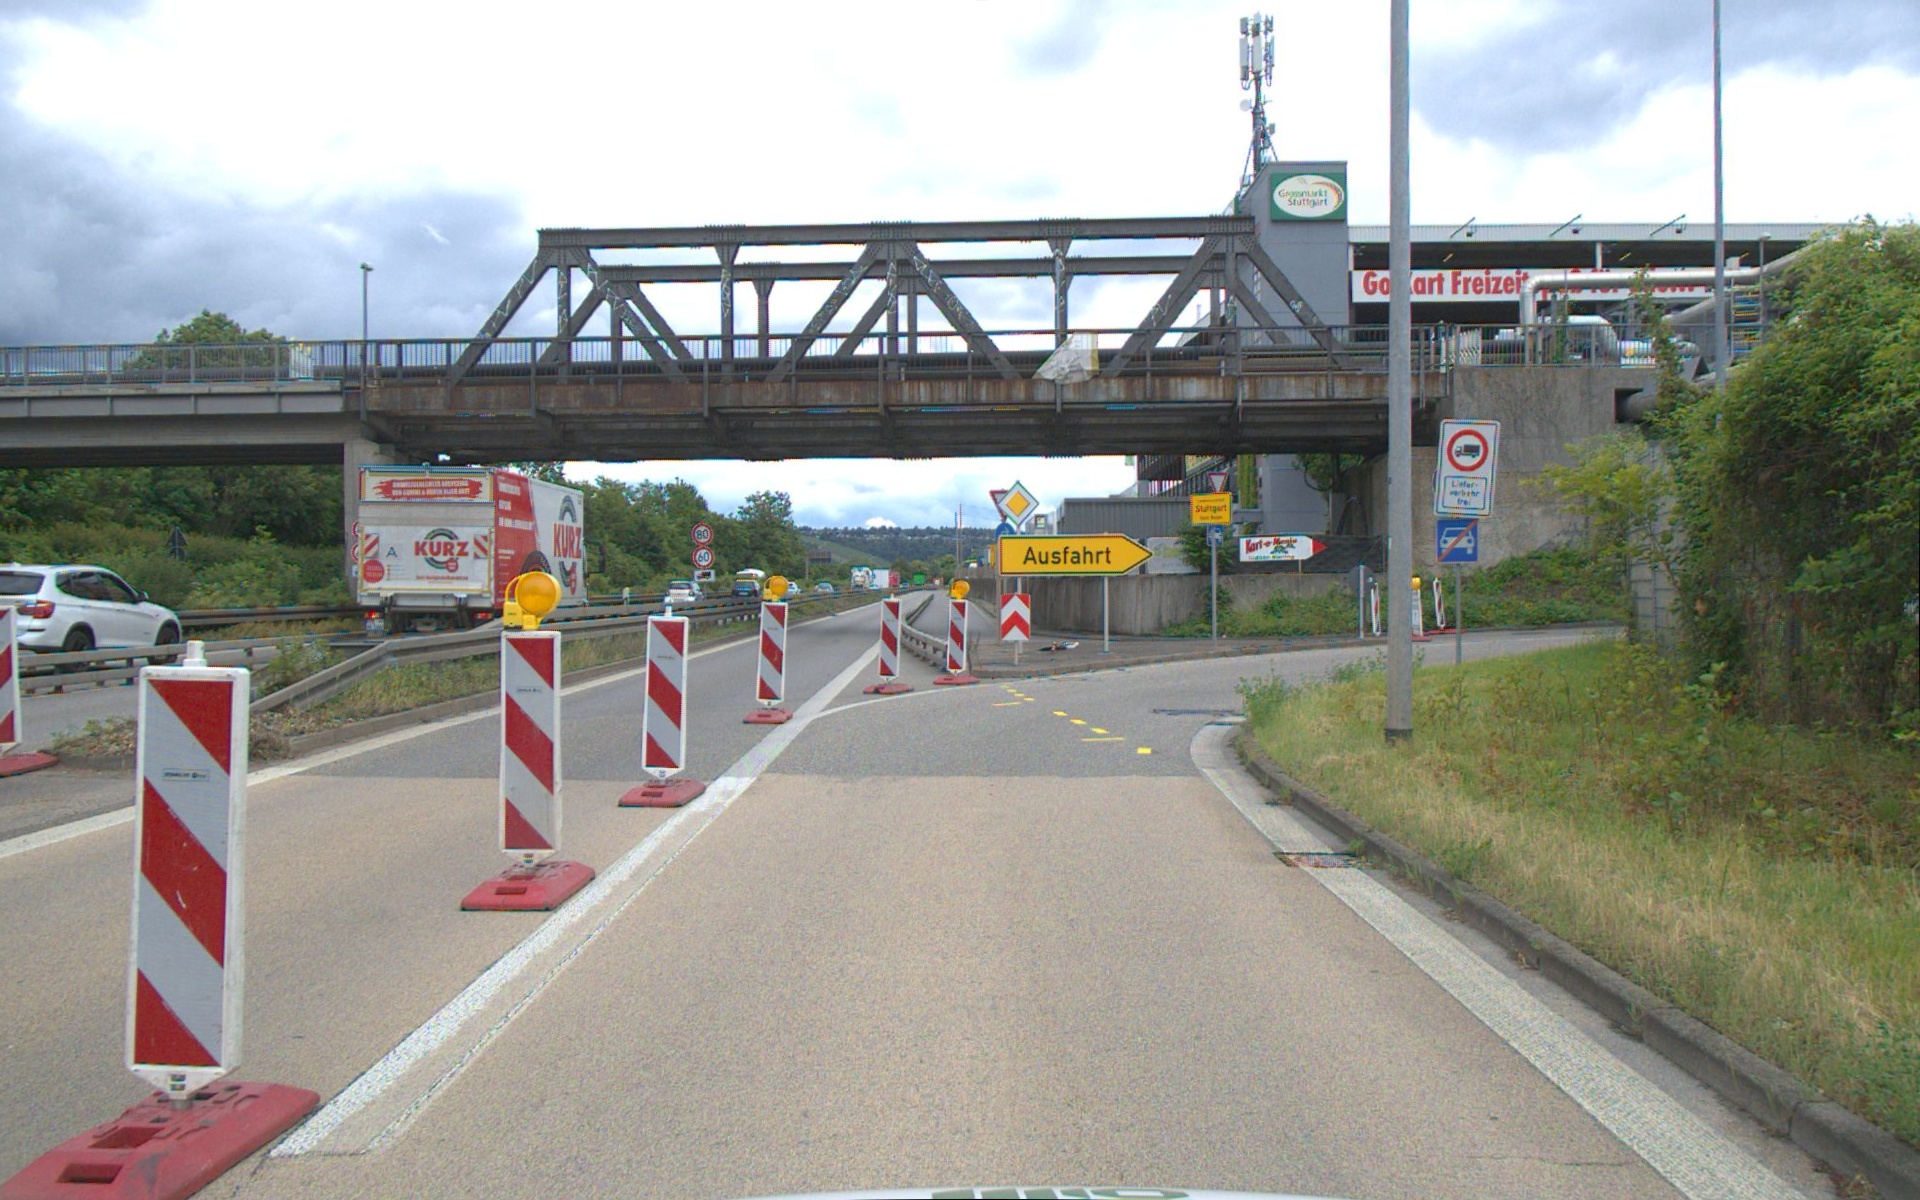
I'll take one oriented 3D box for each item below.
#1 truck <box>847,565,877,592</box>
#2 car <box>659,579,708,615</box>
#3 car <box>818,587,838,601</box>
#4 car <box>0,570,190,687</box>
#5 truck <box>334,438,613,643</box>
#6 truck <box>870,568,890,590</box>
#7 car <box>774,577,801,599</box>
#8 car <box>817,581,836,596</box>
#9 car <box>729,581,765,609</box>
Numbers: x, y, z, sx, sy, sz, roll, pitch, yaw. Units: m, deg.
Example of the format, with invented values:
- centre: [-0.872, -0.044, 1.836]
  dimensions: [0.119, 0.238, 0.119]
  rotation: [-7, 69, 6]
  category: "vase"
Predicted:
- centre: [-13.344, -2.925, 226.025]
  dimensions: [3.644, 3.709, 7.728]
  rotation: [0, 1, 0]
  category: "truck"
- centre: [-14.202, -0.158, 84.995]
  dimensions: [1.953, 1.790, 3.998]
  rotation: [-1, 0, -2]
  category: "car"
- centre: [-14.446, -0.690, 181.345]
  dimensions: [1.933, 1.438, 4.599]
  rotation: [-1, 0, -1]
  category: "car"
- centre: [-13.856, 0.398, 25.751]
  dimensions: [1.816, 1.669, 4.290]
  rotation: [1, 0, -2]
  category: "car"
- centre: [-9.841, -1.048, 34.895]
  dimensions: [2.892, 3.693, 10.153]
  rotation: [0, 0, 0]
  category: "truck"
- centre: [-11.838, -3.053, 245.294]
  dimensions: [2.626, 3.195, 6.132]
  rotation: [1, 0, 0]
  category: "truck"
- centre: [-14.332, -0.989, 137.564]
  dimensions: [1.954, 1.847, 3.998]
  rotation: [0, 1, -3]
  category: "car"
- centre: [-14.303, -1.251, 177.550]
  dimensions: [1.743, 1.624, 3.749]
  rotation: [0, 1, 0]
  category: "car"
- centre: [-14.229, -0.334, 110.457]
  dimensions: [1.953, 1.790, 3.999]
  rotation: [-1, 0, -2]
  category: "car"
